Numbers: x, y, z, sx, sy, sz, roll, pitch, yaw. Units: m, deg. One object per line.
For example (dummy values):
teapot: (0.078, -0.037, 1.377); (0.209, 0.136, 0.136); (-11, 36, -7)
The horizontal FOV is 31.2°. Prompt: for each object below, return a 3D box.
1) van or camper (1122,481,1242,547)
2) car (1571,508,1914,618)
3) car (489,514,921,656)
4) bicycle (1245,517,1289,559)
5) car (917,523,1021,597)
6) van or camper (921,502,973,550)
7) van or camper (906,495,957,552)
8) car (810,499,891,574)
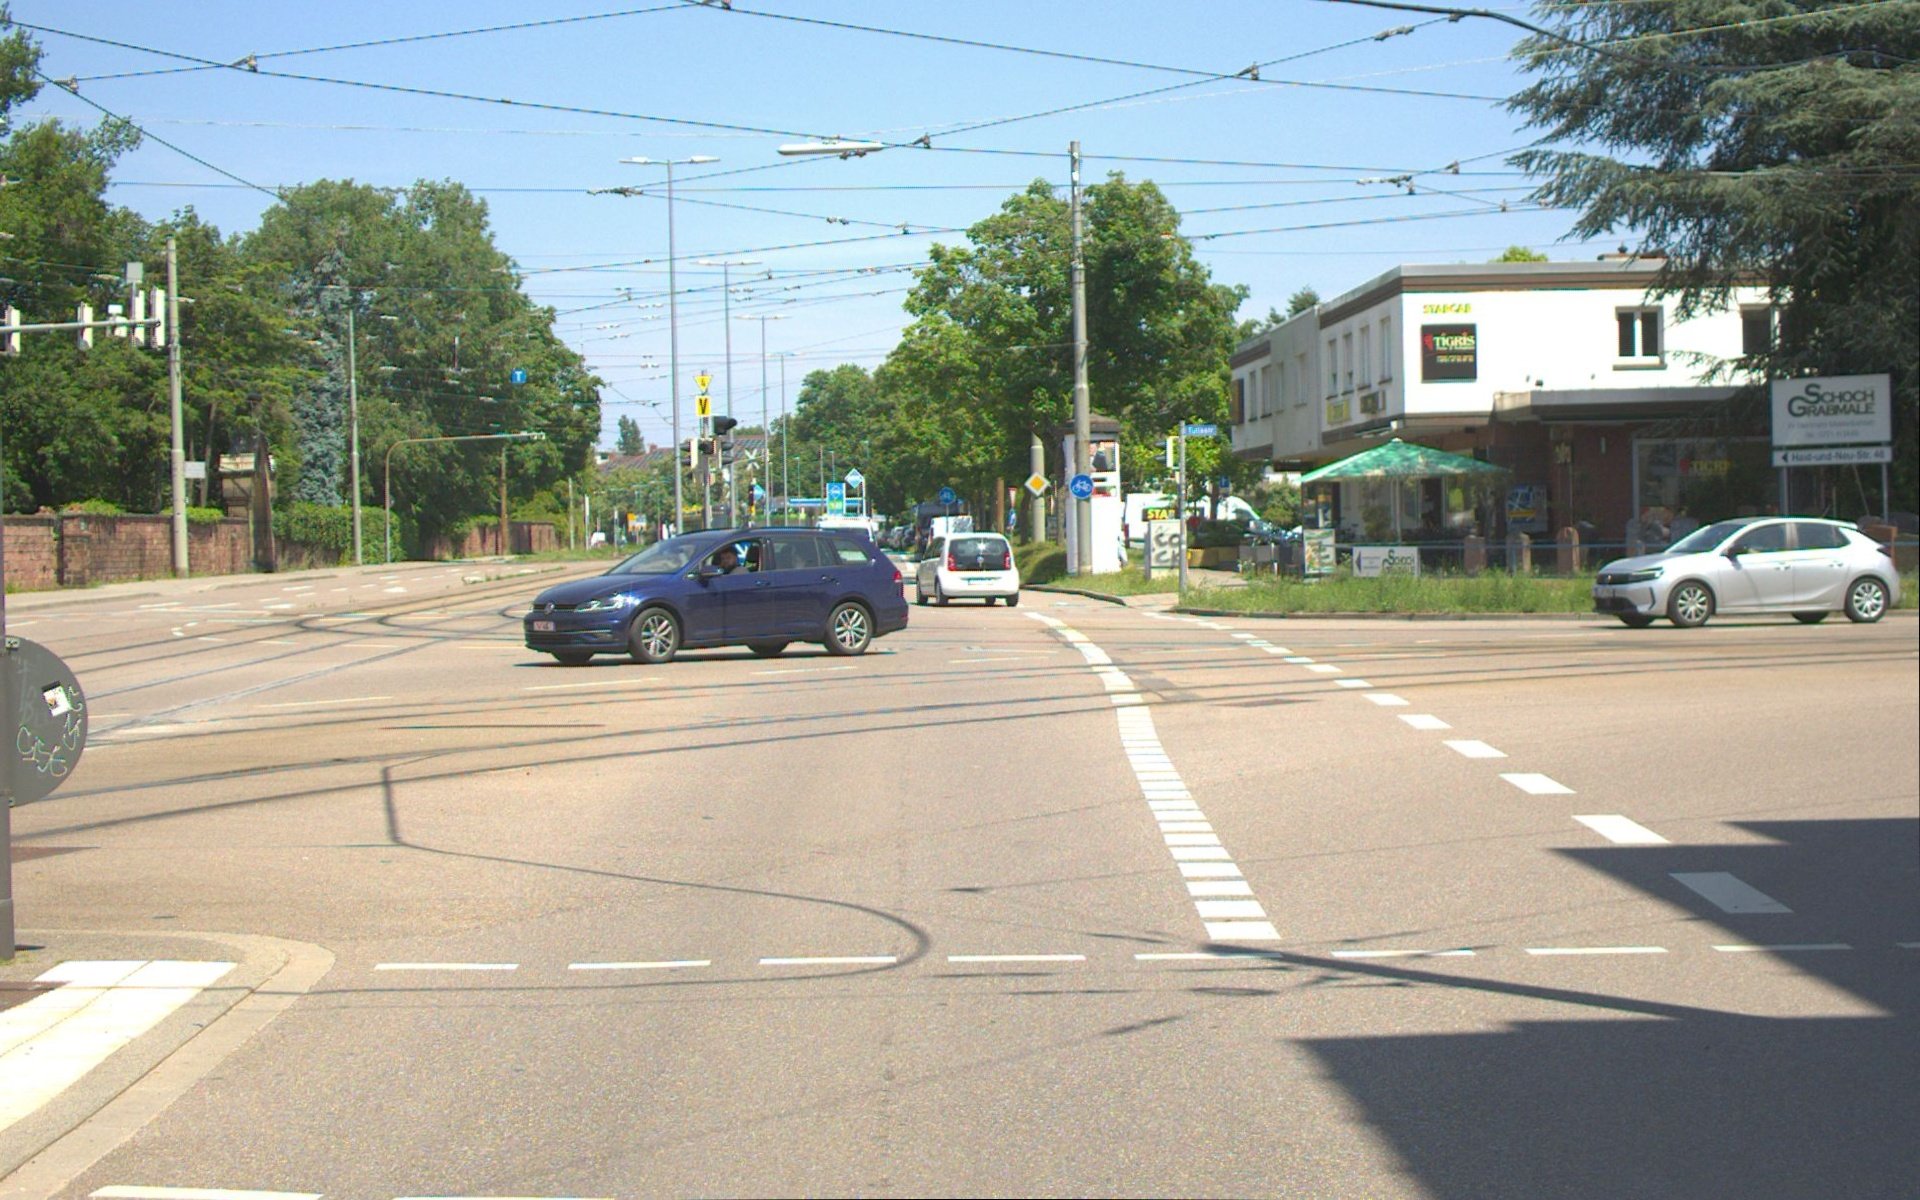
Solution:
van or camper: (9.234, -3.603, 143.379); (4.756, 2.662, 2.136); (-1, 1, -3)
car: (10.332, -0.501, 45.452); (4.037, 1.358, 1.824); (-1, 1, -16)
car: (-2.794, -0.198, 38.204); (4.464, 1.437, 1.862); (-2, 2, -36)
bicycle: (7.562, -1.535, 84.483); (1.034, 1.011, 2.636); (-1, 1, 6)
car: (0.155, -0.822, 69.032); (1.670, 1.430, 3.475); (-1, 1, -6)
van or camper: (-0.511, -2.798, 130.363); (1.922, 1.766, 4.000); (-1, 1, -1)
van or camper: (-1.271, -3.413, 152.827); (1.993, 2.456, 4.001); (-1, 1, -4)
car: (-2.837, -1.650, 88.338); (1.993, 1.853, 4.001); (0, 2, -3)
